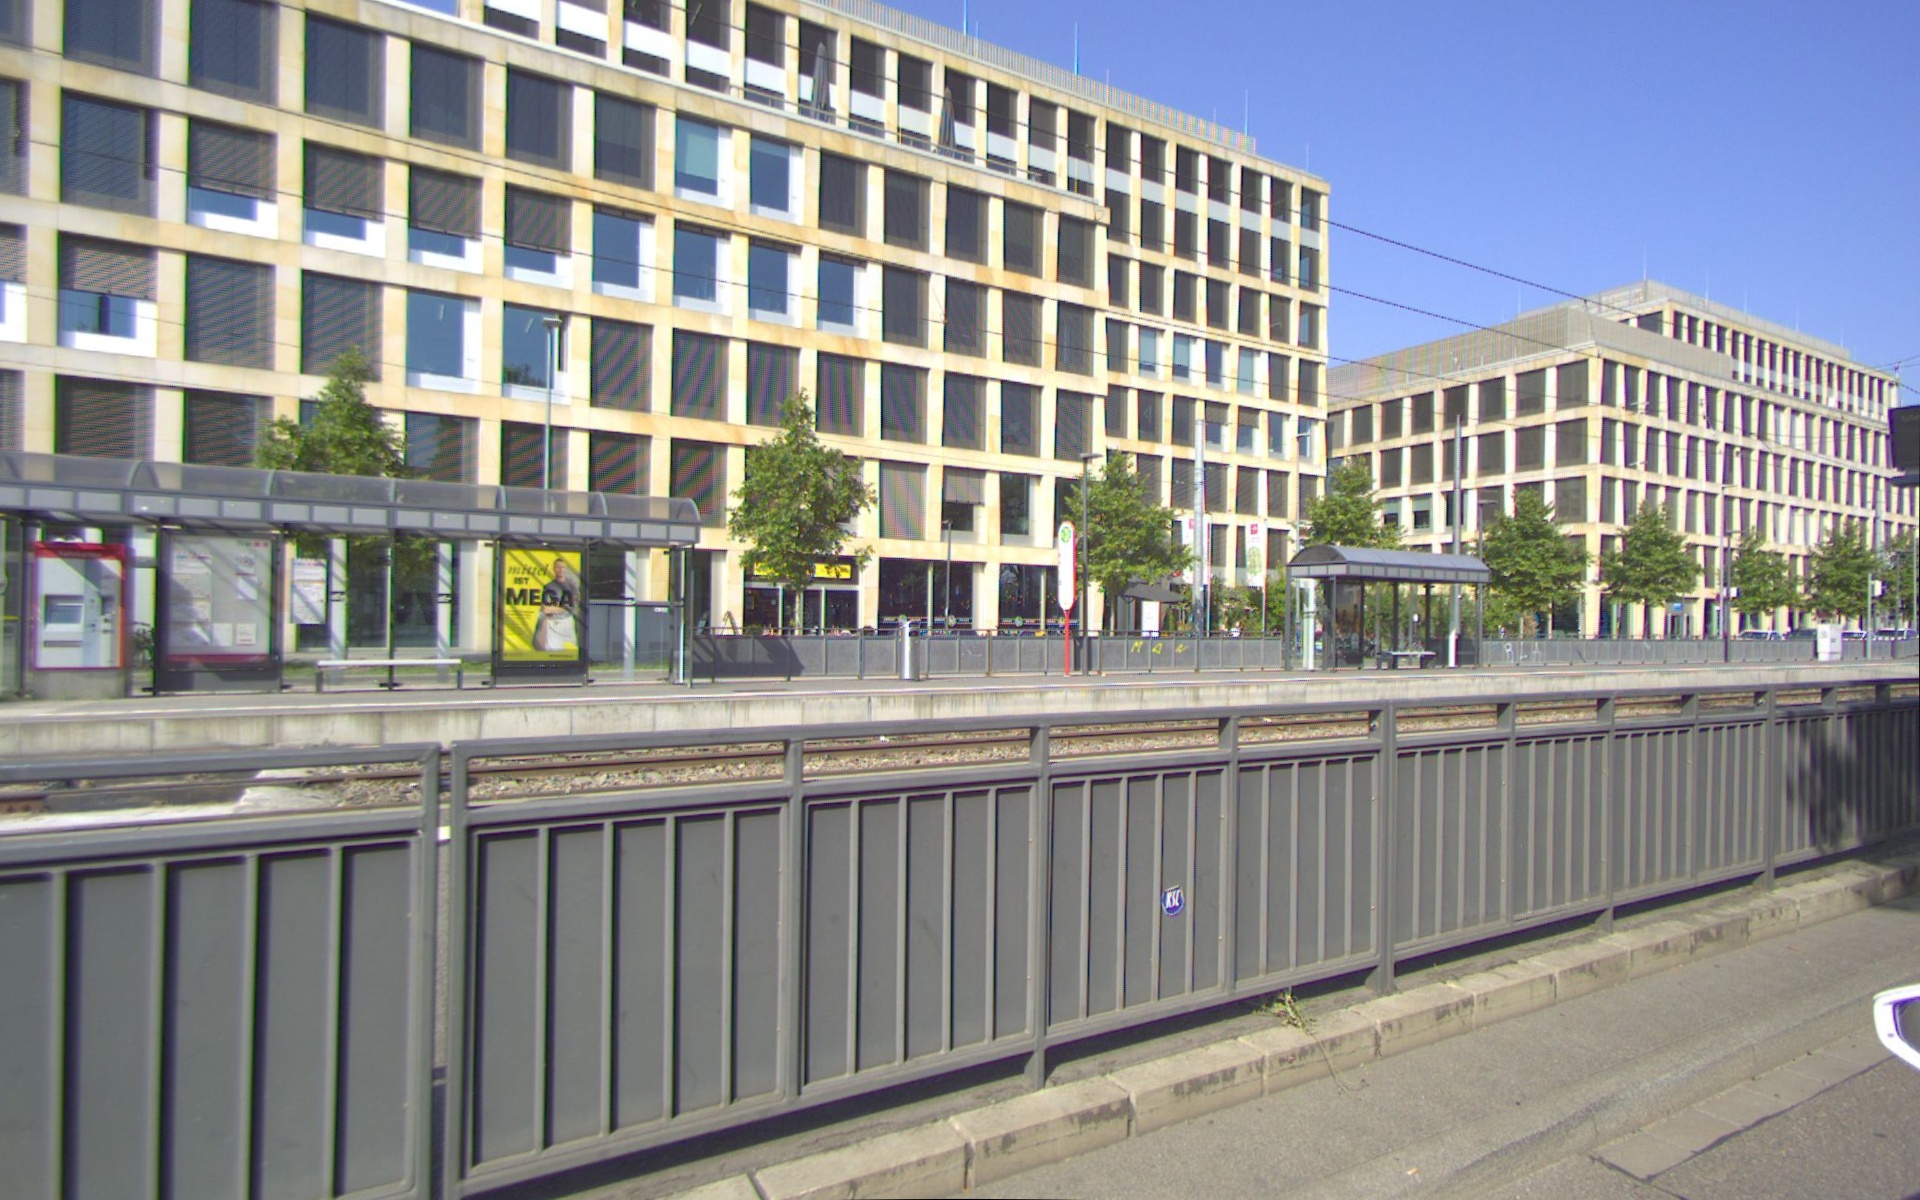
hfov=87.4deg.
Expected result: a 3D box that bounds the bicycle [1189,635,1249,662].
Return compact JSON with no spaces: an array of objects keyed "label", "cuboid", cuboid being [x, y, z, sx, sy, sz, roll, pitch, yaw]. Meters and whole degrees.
[{"label":"bicycle","cuboid":[10.148,1.894,39.400,0.812,0.999,2.421,1,-1,-31]}]

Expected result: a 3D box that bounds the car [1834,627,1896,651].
[{"label":"car","cuboid":[54.472,2.356,60.450,4.173,1.395,1.634,1,-1,-31]}]

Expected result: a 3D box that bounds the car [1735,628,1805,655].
[{"label":"car","cuboid":[43.999,2.252,54.530,4.173,1.395,1.634,1,-1,-31]}]

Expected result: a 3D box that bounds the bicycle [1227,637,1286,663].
[{"label":"bicycle","cuboid":[12.071,2.030,41.024,0.812,0.999,2.421,1,-1,-31]}]

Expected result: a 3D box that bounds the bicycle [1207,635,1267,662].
[{"label":"bicycle","cuboid":[11.040,1.932,40.114,0.812,0.999,2.421,1,-1,-31]}]

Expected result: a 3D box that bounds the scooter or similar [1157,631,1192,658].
[{"label":"scooter or similar","cuboid":[8.106,1.672,37.996,0.367,0.999,1.493,1,-1,-31]}]

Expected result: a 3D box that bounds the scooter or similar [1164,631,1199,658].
[{"label":"scooter or similar","cuboid":[8.475,1.696,38.446,0.390,0.999,1.515,1,-1,-30]}]
